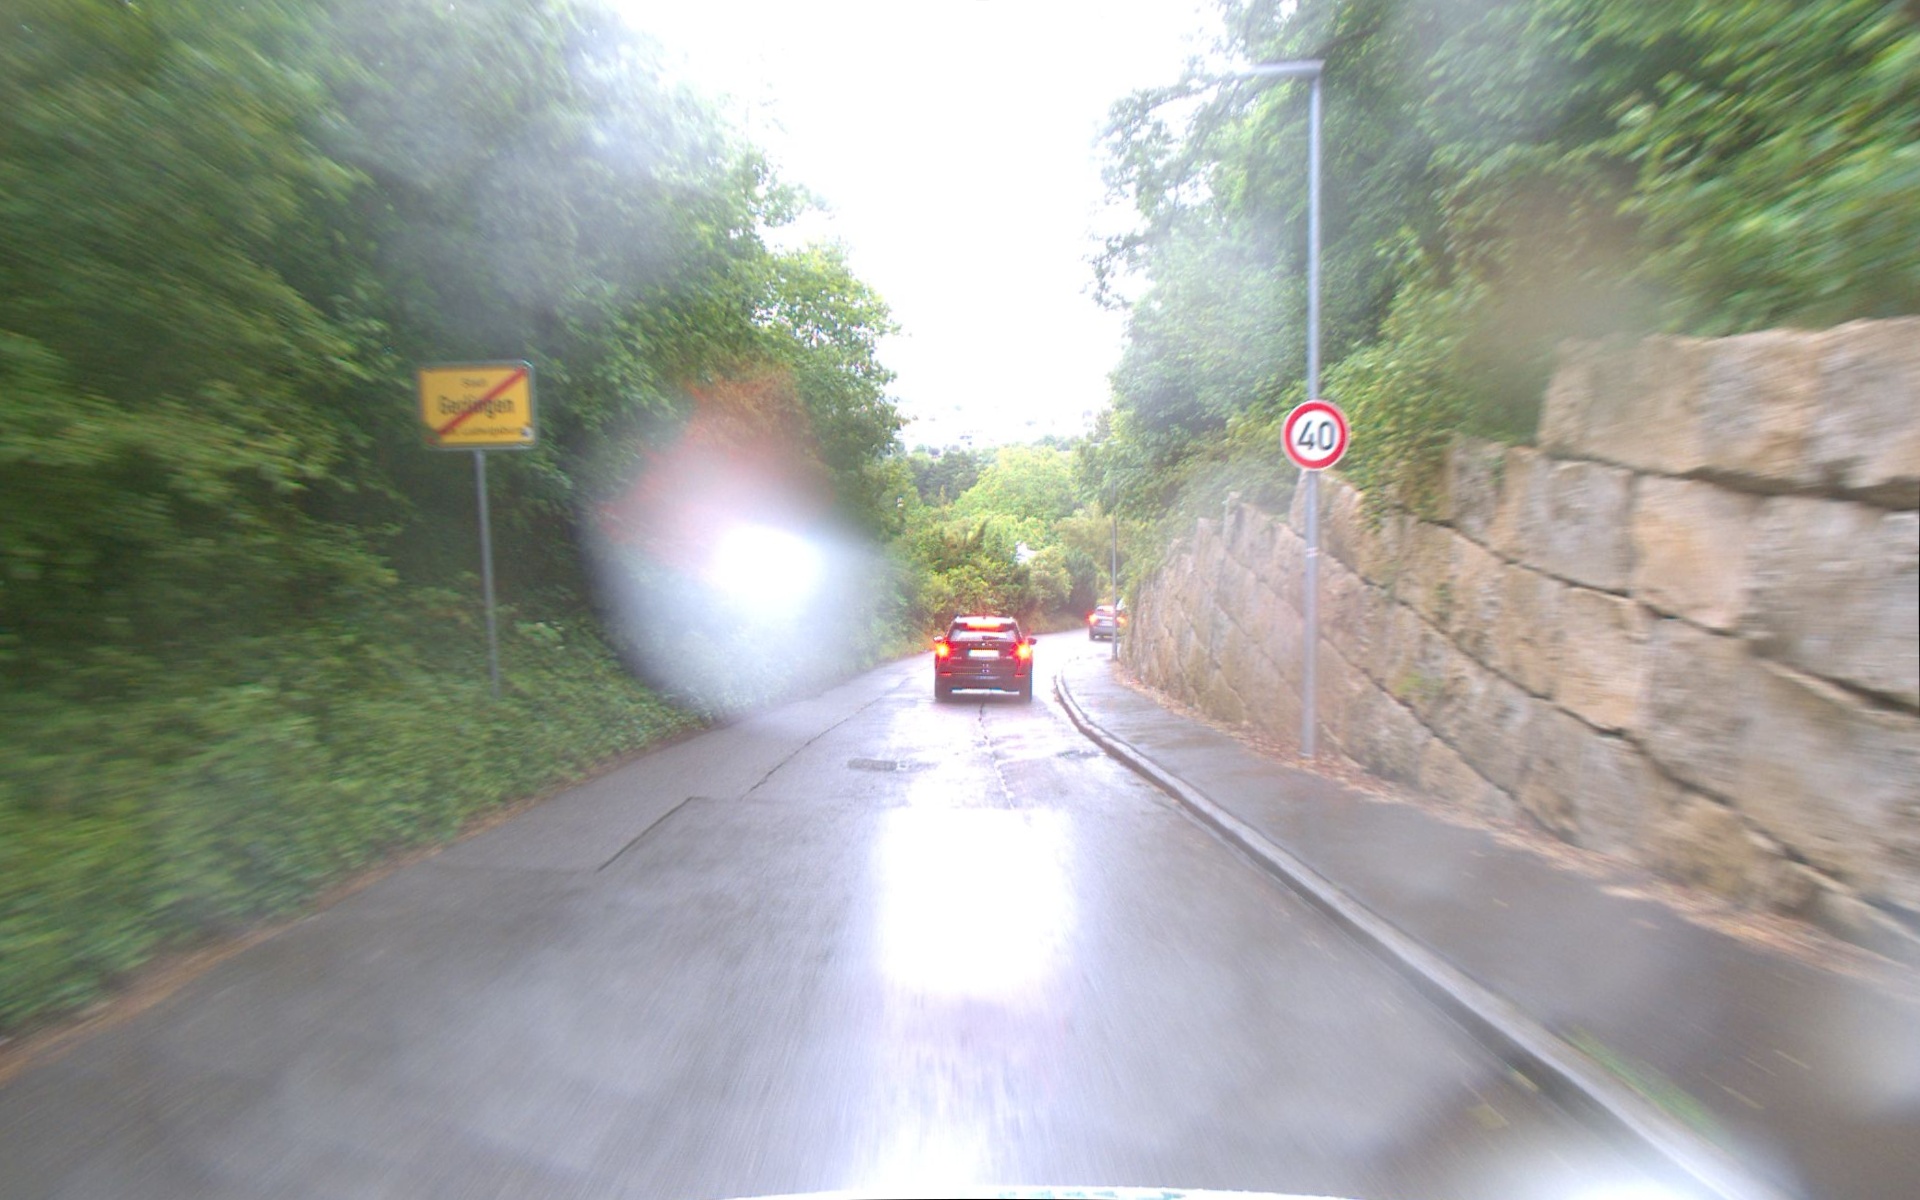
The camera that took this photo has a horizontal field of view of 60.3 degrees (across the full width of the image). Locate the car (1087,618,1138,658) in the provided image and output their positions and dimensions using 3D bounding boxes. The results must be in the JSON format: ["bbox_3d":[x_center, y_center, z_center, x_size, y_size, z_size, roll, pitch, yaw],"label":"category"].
[{"bbox_3d":[7.134,1.744,76.940,1.823,1.774,4.003,2,0,13],"label":"car"}]

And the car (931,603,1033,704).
[{"bbox_3d":[0.344,0.914,30.126,1.665,1.475,4.000,0,3,-2],"label":"car"}]
